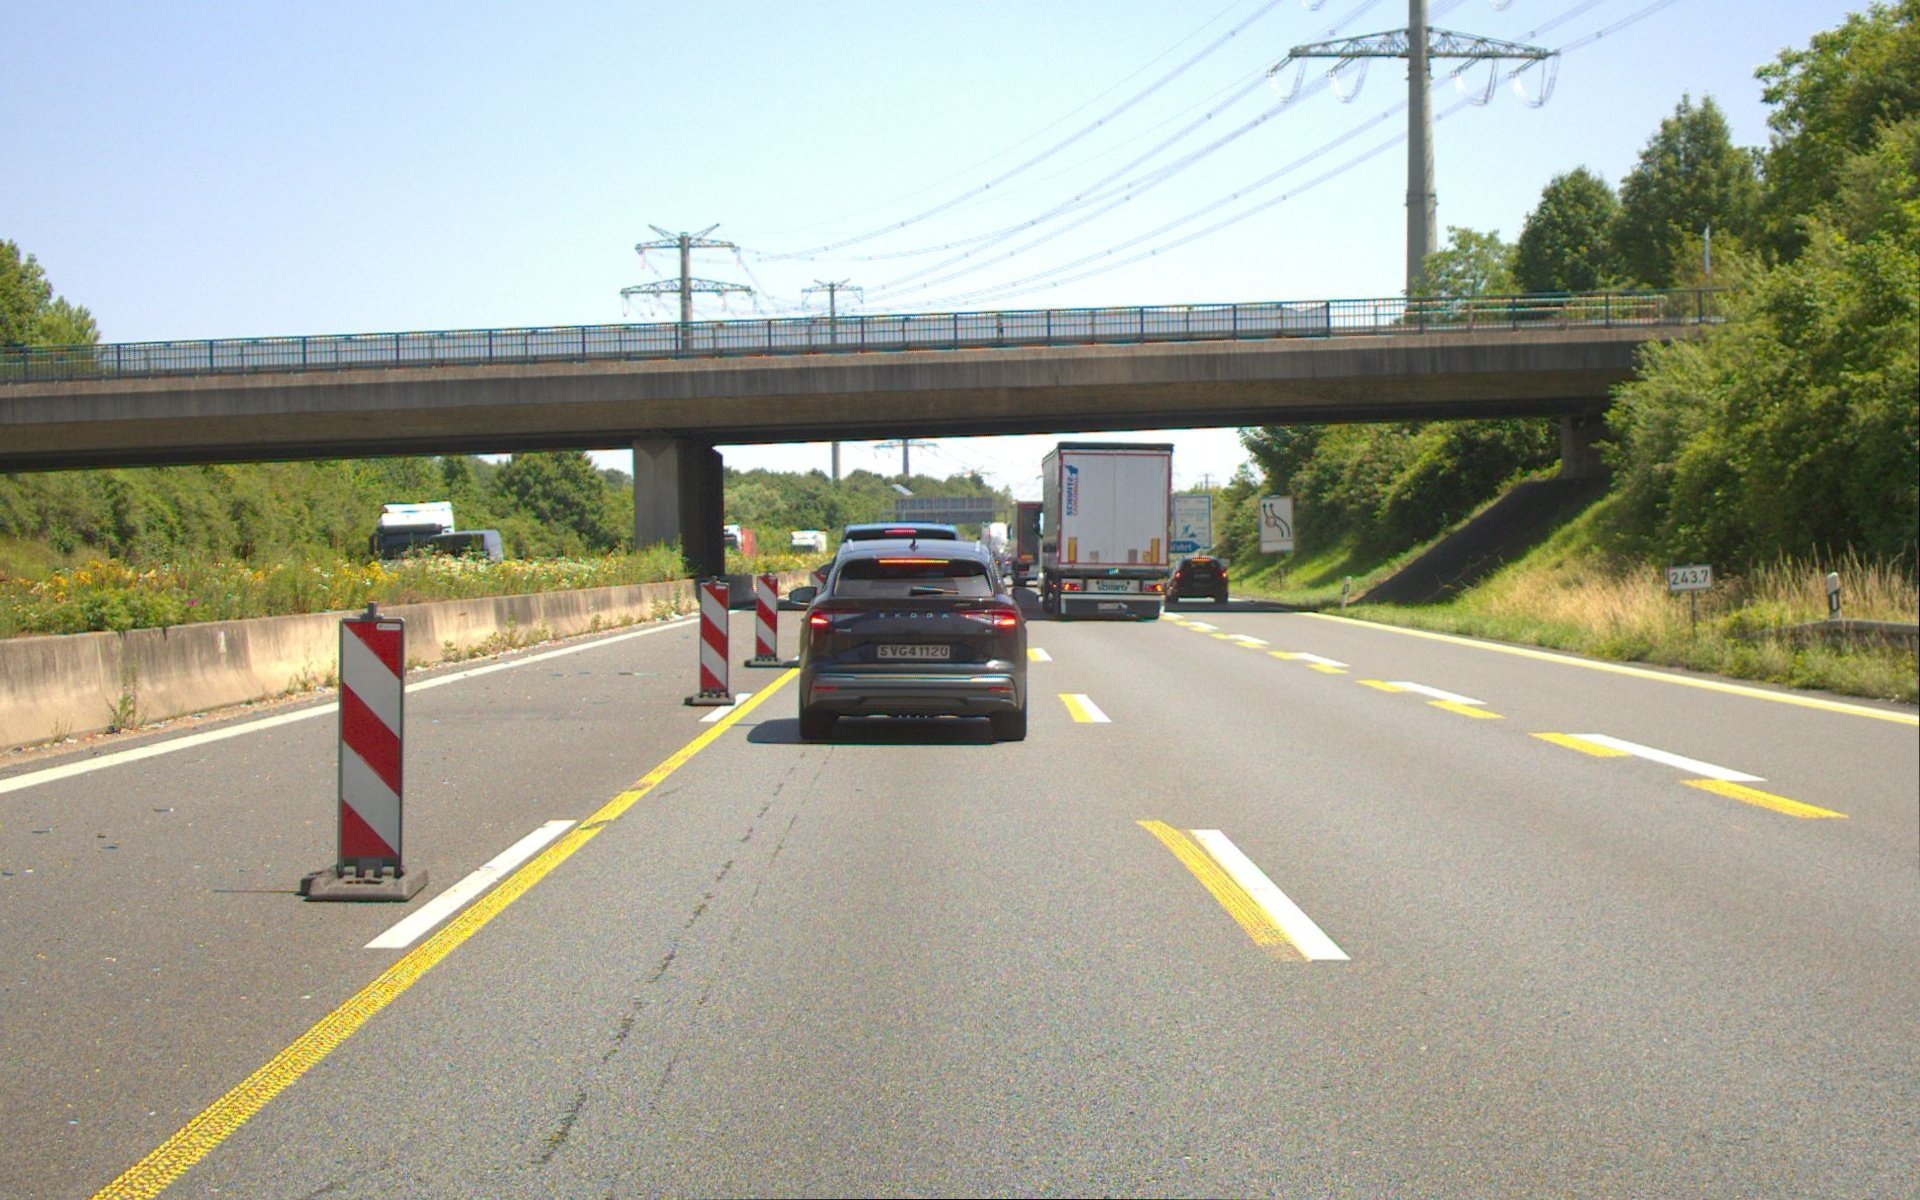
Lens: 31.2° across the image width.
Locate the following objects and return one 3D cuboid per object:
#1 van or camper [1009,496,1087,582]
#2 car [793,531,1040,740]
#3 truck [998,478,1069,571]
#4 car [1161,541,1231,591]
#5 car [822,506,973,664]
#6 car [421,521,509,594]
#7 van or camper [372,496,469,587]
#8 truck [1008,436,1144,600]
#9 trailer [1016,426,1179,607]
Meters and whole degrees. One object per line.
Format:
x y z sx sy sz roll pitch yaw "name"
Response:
3.176 -2.247 125.594 2.586 2.958 6.085 3 1 0 "van or camper"
-0.394 0.230 28.675 1.895 1.586 4.443 0 1 -2 "car"
3.376 -3.480 160.857 3.078 4.132 13.054 1 1 1 "truck"
7.332 -1.064 107.068 1.779 1.484 4.464 1 1 -1 "car"
-0.864 -0.253 46.443 1.895 1.835 4.444 1 4 -1 "car"
-15.678 -1.365 109.042 2.112 2.190 5.313 2 1 -2 "car"
-19.367 -2.119 123.673 2.570 3.176 6.233 0 1 -1 "van or camper"
2.944 -2.100 89.339 3.024 4.073 7.796 0 1 -2 "truck"
3.167 -1.969 82.560 3.065 4.028 11.489 0 1 -2 "trailer"
